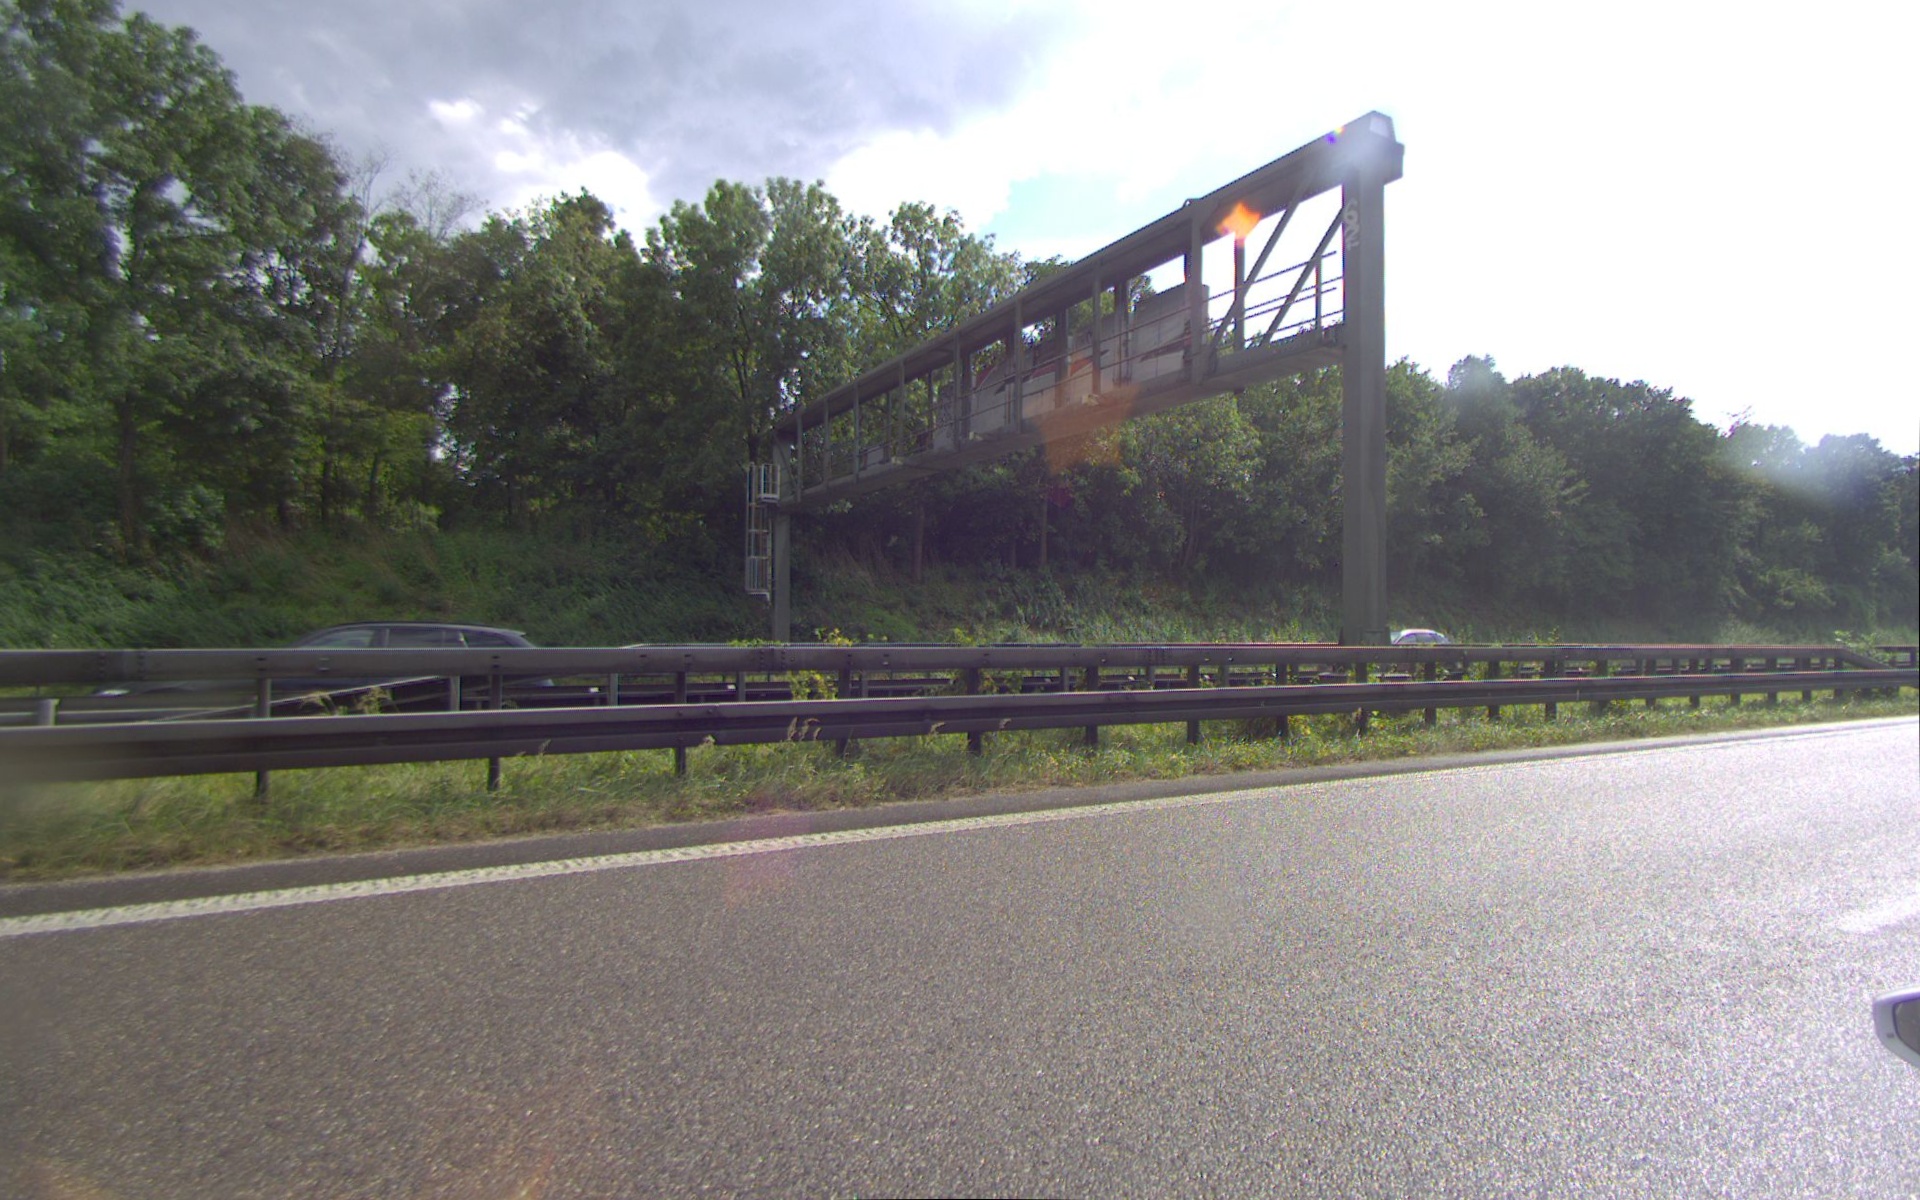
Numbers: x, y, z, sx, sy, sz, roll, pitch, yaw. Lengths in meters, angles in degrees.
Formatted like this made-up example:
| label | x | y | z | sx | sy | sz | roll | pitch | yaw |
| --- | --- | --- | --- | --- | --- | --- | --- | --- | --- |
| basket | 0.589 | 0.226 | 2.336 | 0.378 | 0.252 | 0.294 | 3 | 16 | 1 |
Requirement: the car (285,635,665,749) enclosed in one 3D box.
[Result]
| label | x | y | z | sx | sy | sz | roll | pitch | yaw |
| --- | --- | --- | --- | --- | --- | --- | --- | --- | --- |
| car | -5.866 | 1.054 | 12.425 | 3.952 | 1.142 | 1.818 | 2 | 0 | -30 |

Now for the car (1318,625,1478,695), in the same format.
| label | x | y | z | sx | sy | sz | roll | pitch | yaw |
| --- | --- | --- | --- | --- | --- | --- | --- | --- | --- |
| car | 11.825 | 1.580 | 27.055 | 4.187 | 1.685 | 1.845 | 2 | 0 | -31 |
